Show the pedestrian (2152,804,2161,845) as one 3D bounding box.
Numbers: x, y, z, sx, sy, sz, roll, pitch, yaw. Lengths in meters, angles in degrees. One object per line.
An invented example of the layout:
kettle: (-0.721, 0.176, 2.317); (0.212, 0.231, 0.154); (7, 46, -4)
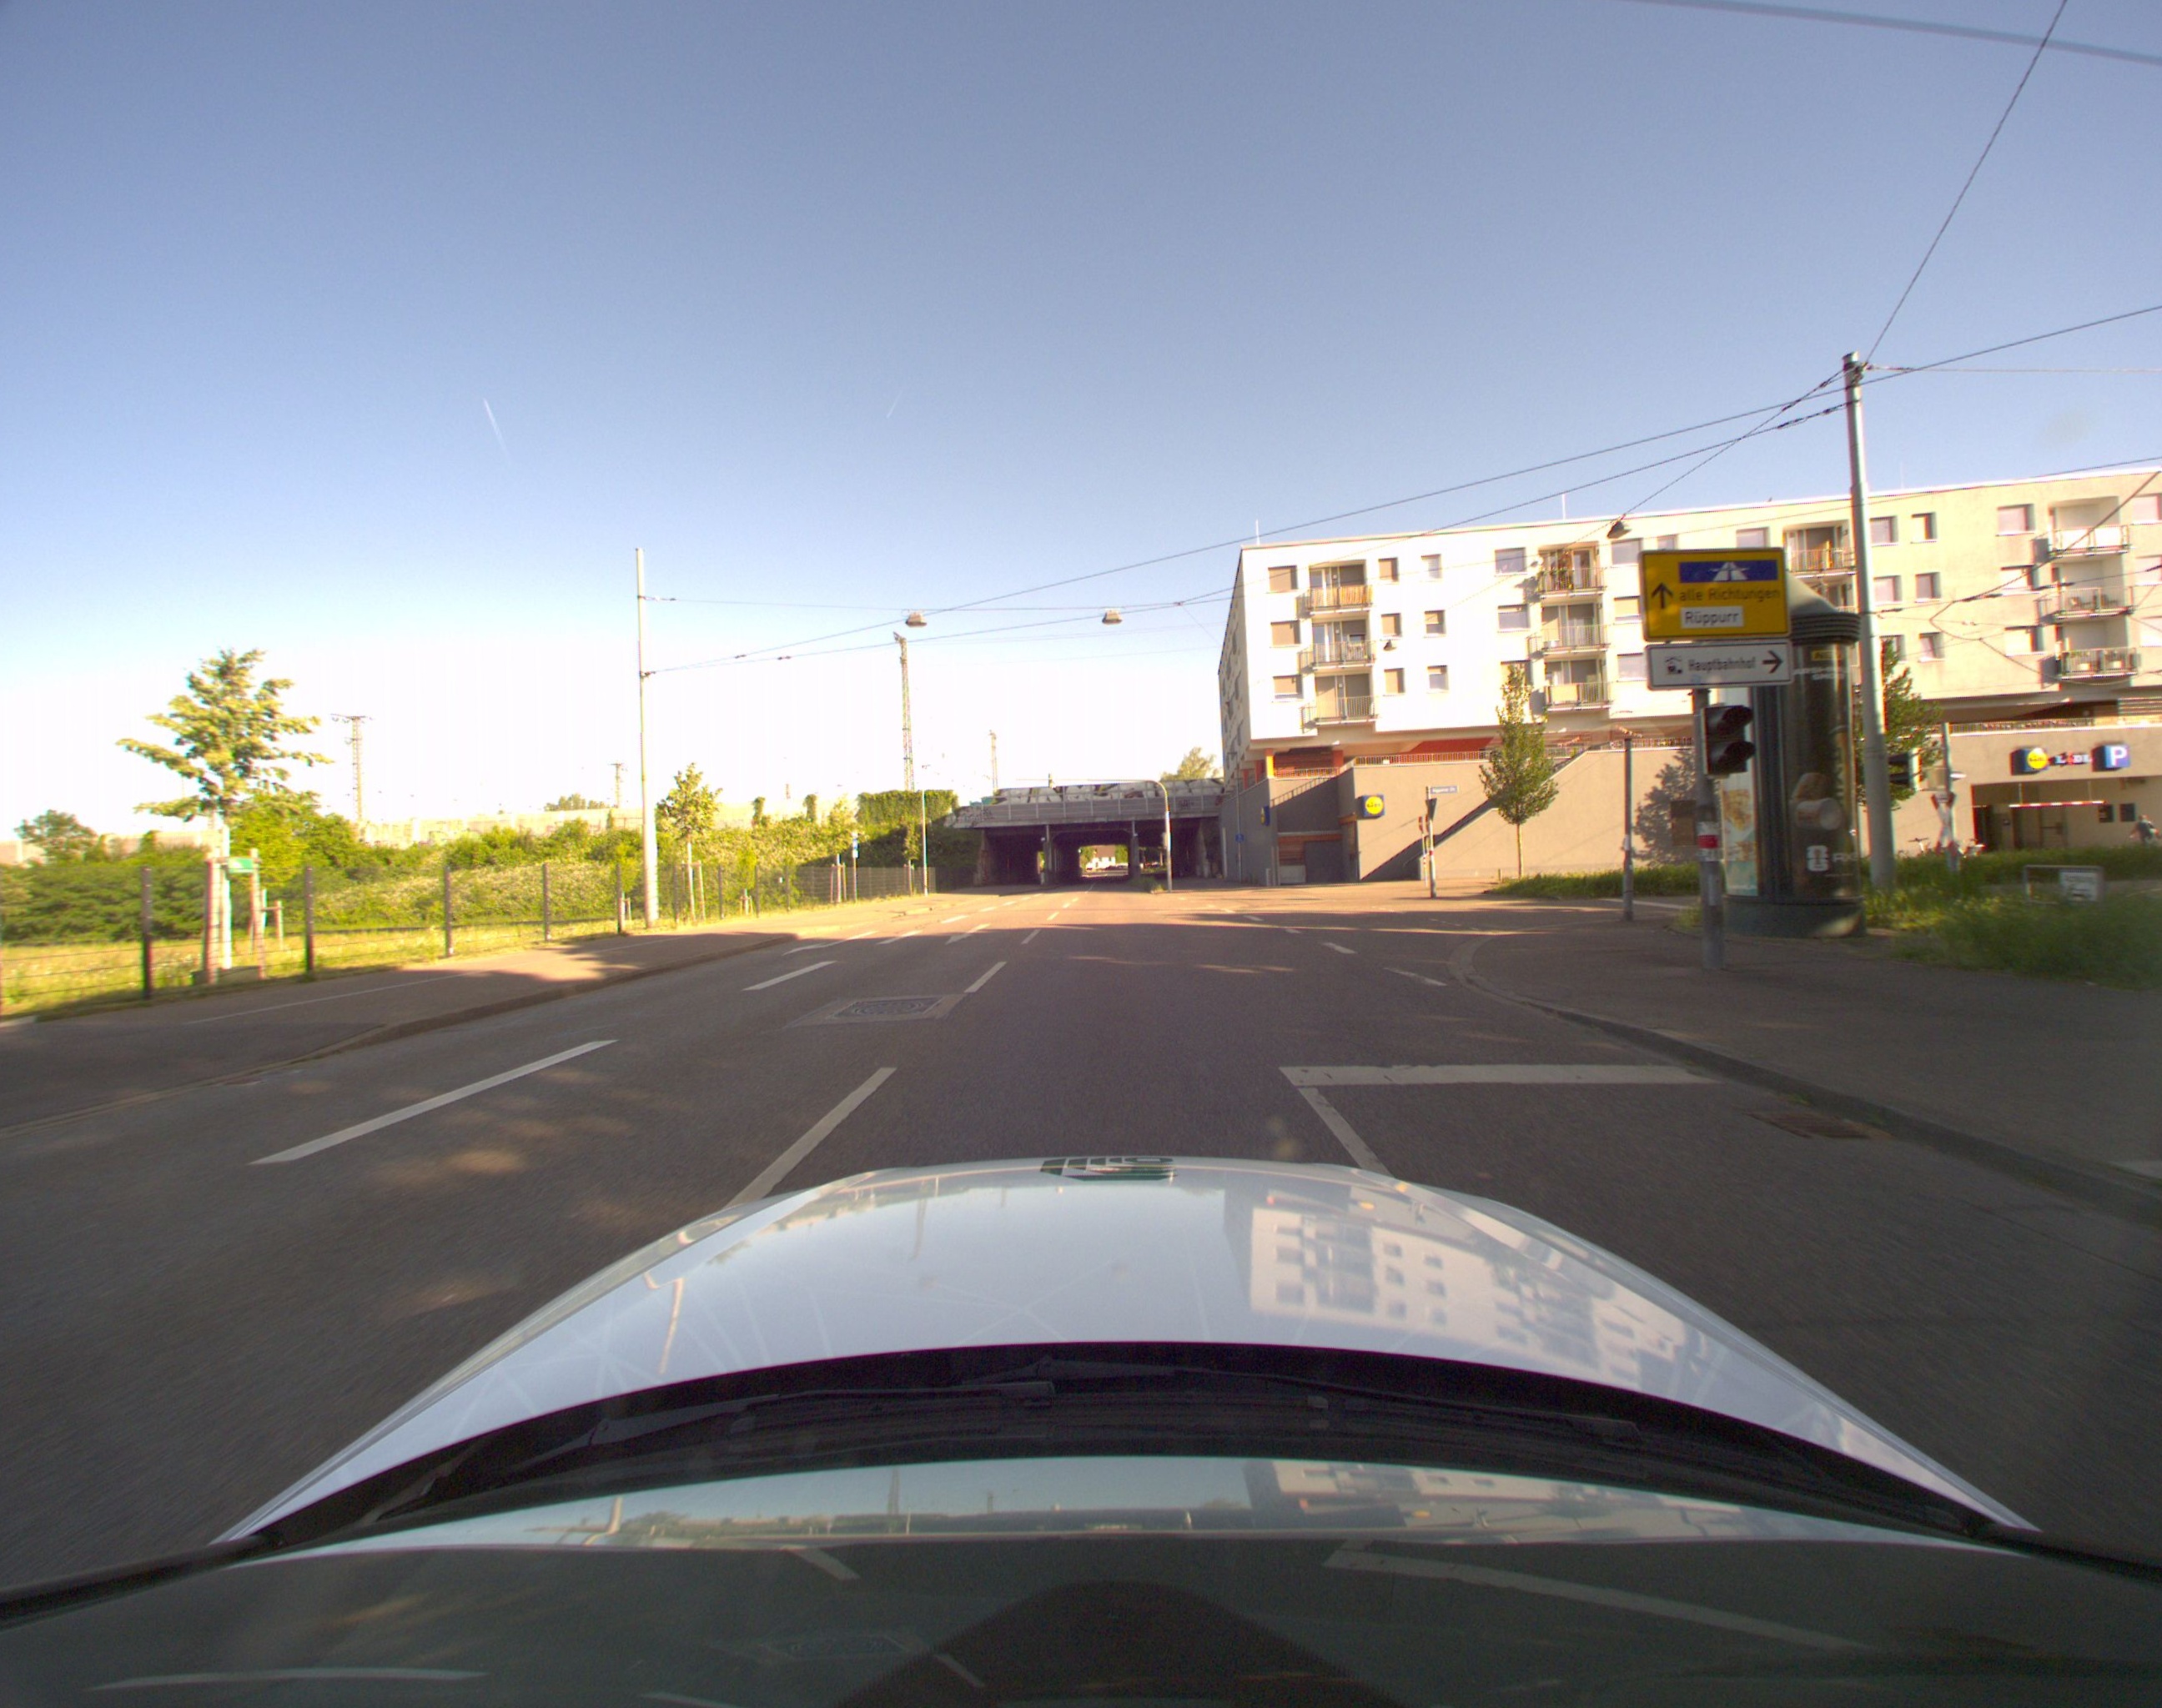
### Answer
pedestrian: (45.825, -1.239, 34.260); (0.655, 1.702, 0.603); (-1, -2, 18)

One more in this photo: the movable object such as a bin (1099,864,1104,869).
movable object such as a bin: (6.194, 3.742, 245.524); (1.362, 1.418, 1.064); (0, -2, -5)

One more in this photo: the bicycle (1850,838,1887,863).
bicycle: (32.137, -0.125, 33.257); (0.477, 0.970, 1.460); (-1, -1, 19)

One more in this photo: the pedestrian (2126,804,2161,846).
pedestrian: (45.007, -1.225, 34.479); (0.655, 1.702, 0.603); (-1, -2, 18)

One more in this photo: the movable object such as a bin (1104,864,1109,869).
movable object such as a bin: (7.588, 3.730, 245.657); (1.362, 1.418, 1.064); (0, -2, -5)
